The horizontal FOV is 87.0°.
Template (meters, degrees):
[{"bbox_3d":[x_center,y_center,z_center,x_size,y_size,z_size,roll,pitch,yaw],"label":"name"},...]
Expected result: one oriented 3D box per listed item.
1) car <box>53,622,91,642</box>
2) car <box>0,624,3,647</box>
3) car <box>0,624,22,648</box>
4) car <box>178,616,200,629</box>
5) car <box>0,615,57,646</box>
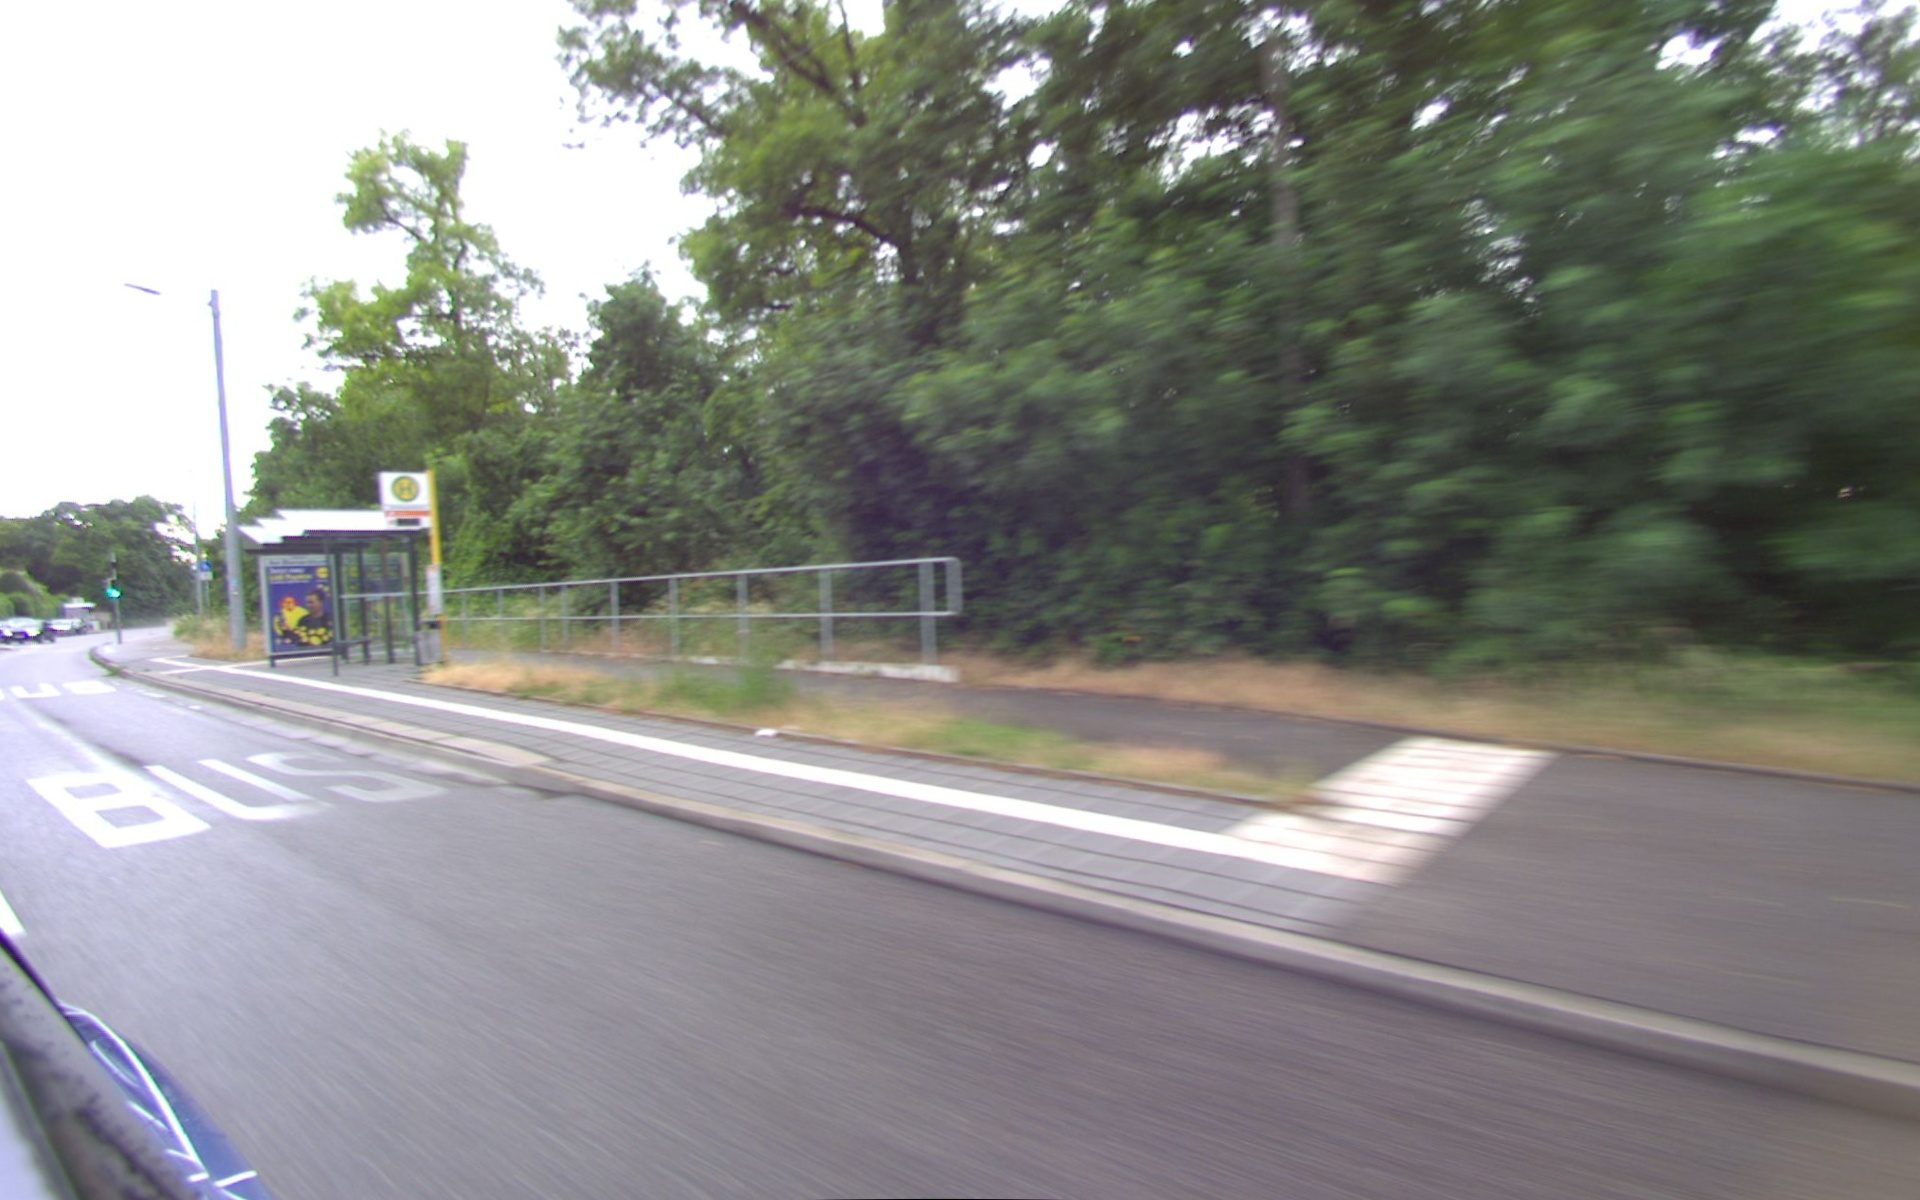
[{"bbox_3d":[-79.432,2.862,90.566,1.805,1.559,4.643,-2,1,-32],"label":"car"},{"bbox_3d":[-61.729,2.308,63.430,1.728,1.454,4.613,-3,1,-33],"label":"car"},{"bbox_3d":[-64.682,2.441,67.915,1.769,1.498,4.507,-3,2,-34],"label":"car"},{"bbox_3d":[-92.491,2.722,121.457,1.720,1.471,4.426,-2,1,-33],"label":"car"},{"bbox_3d":[-56.771,1.841,61.649,1.966,1.737,4.011,-2,0,-32],"label":"car"}]
